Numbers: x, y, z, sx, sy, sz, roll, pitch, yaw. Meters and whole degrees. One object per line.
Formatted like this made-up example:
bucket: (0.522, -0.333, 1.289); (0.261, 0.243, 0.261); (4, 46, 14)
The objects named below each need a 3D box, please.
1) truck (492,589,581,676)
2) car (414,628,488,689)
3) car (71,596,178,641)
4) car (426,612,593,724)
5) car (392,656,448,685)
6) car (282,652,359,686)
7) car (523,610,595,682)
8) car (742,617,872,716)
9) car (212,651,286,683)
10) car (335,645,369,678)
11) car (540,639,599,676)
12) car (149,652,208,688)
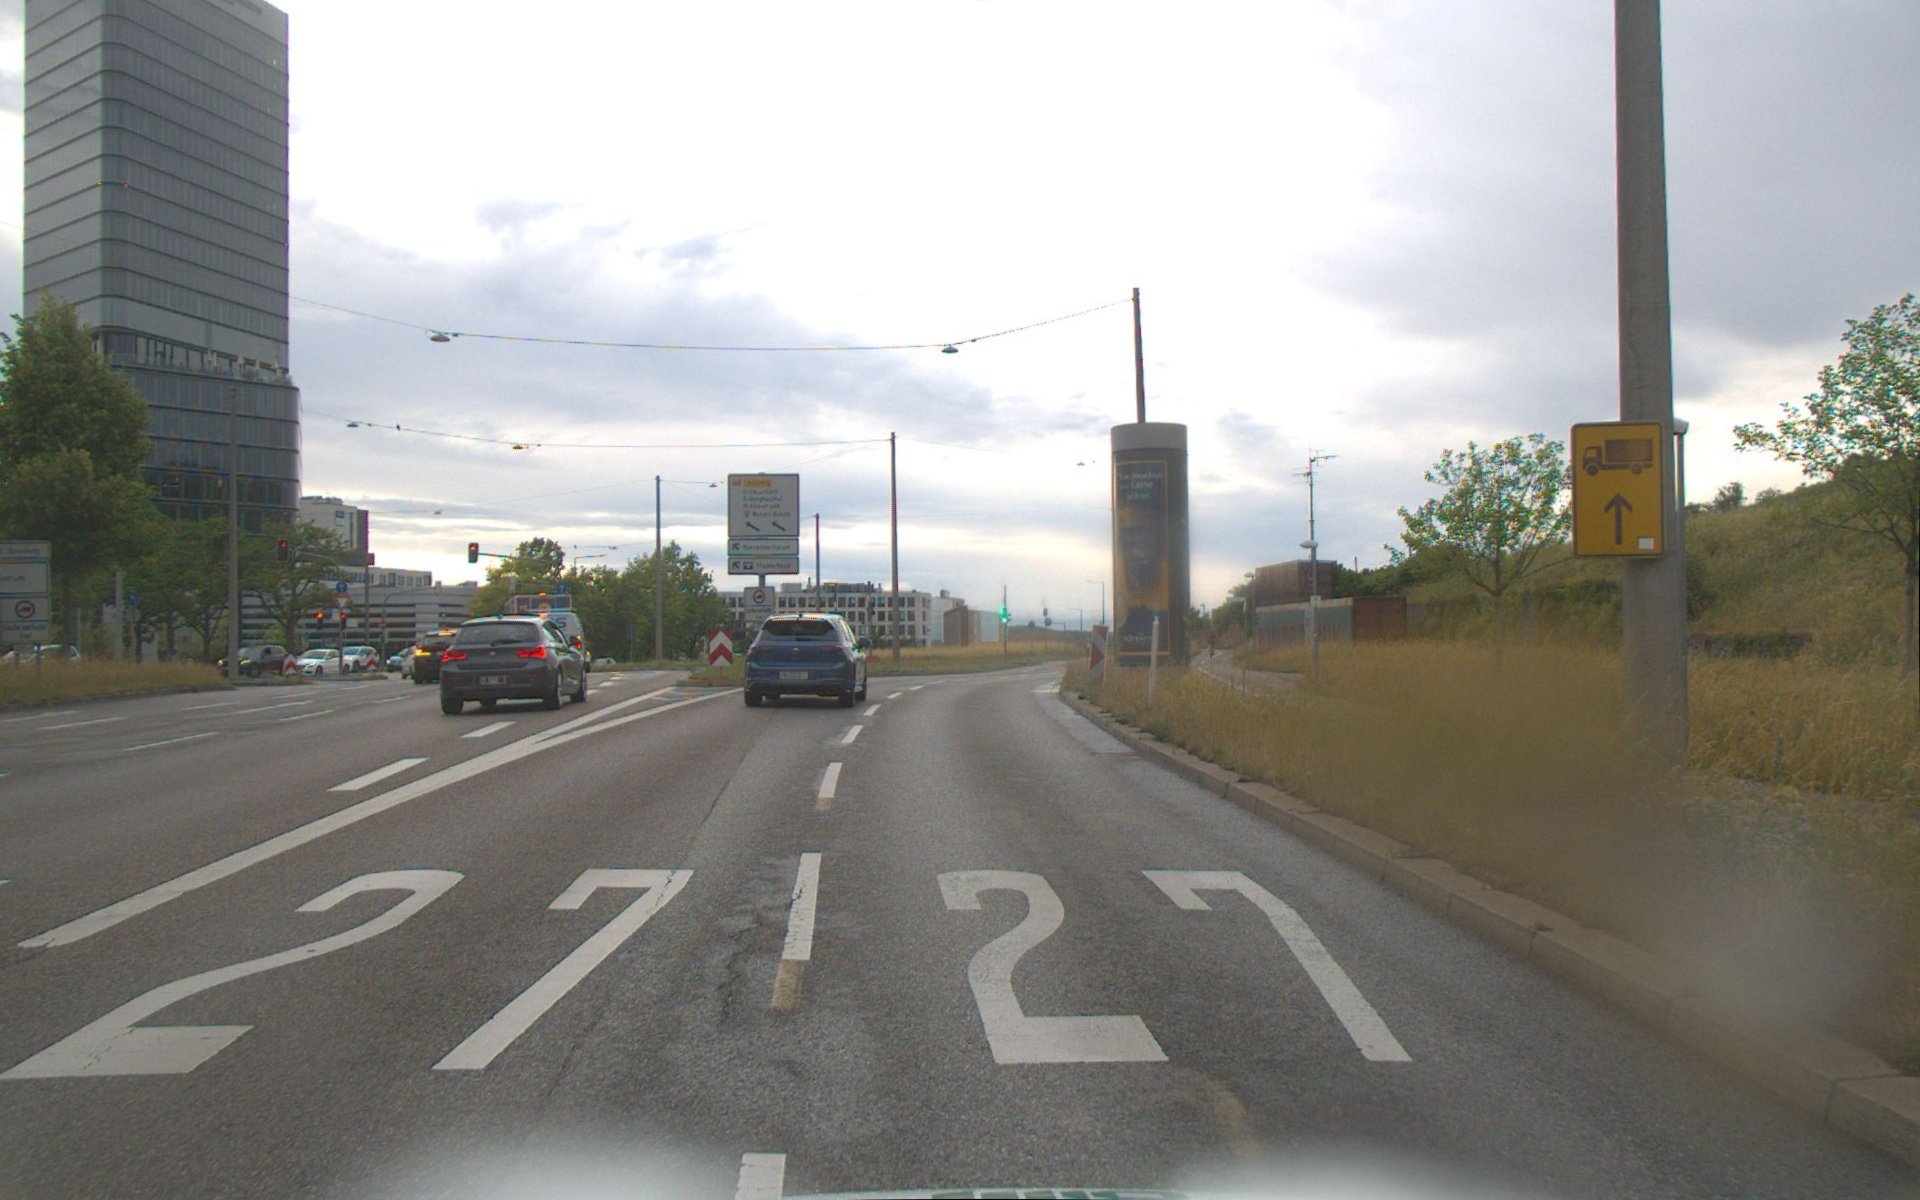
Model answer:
truck: (-16.853, 1.294, 65.591); (2.629, 3.276, 6.505); (1, -1, -21)
car: (-14.397, 1.653, 46.773); (1.874, 1.591, 3.980); (-2, -2, -17)
car: (-33.220, 0.725, 65.907); (1.854, 1.687, 4.605); (-1, 0, 1)
car: (-7.002, 1.003, 26.086); (1.832, 1.487, 3.972); (-1, 1, -5)
car: (-33.585, 4.373, 102.984); (1.789, 1.686, 3.916); (0, -1, 7)
car: (-33.202, 3.584, 86.015); (1.853, 1.687, 4.608); (0, -2, 6)
car: (-11.994, 1.391, 49.756); (1.871, 2.007, 5.077); (-2, -2, -12)
car: (-2.434, 1.036, 27.215); (1.800, 1.418, 3.999); (1, 0, -1)
car: (-36.574, 3.424, 85.184); (1.891, 1.510, 4.577); (0, -1, -1)
car: (-37.145, 3.720, 101.082); (1.736, 1.870, 3.738); (0, -1, -17)
car: (-18.809, 2.768, 79.598); (1.896, 1.672, 4.354); (0, -3, -26)
car: (-43.774, 3.900, 92.660); (1.563, 1.847, 3.536); (-1, 0, 1)
